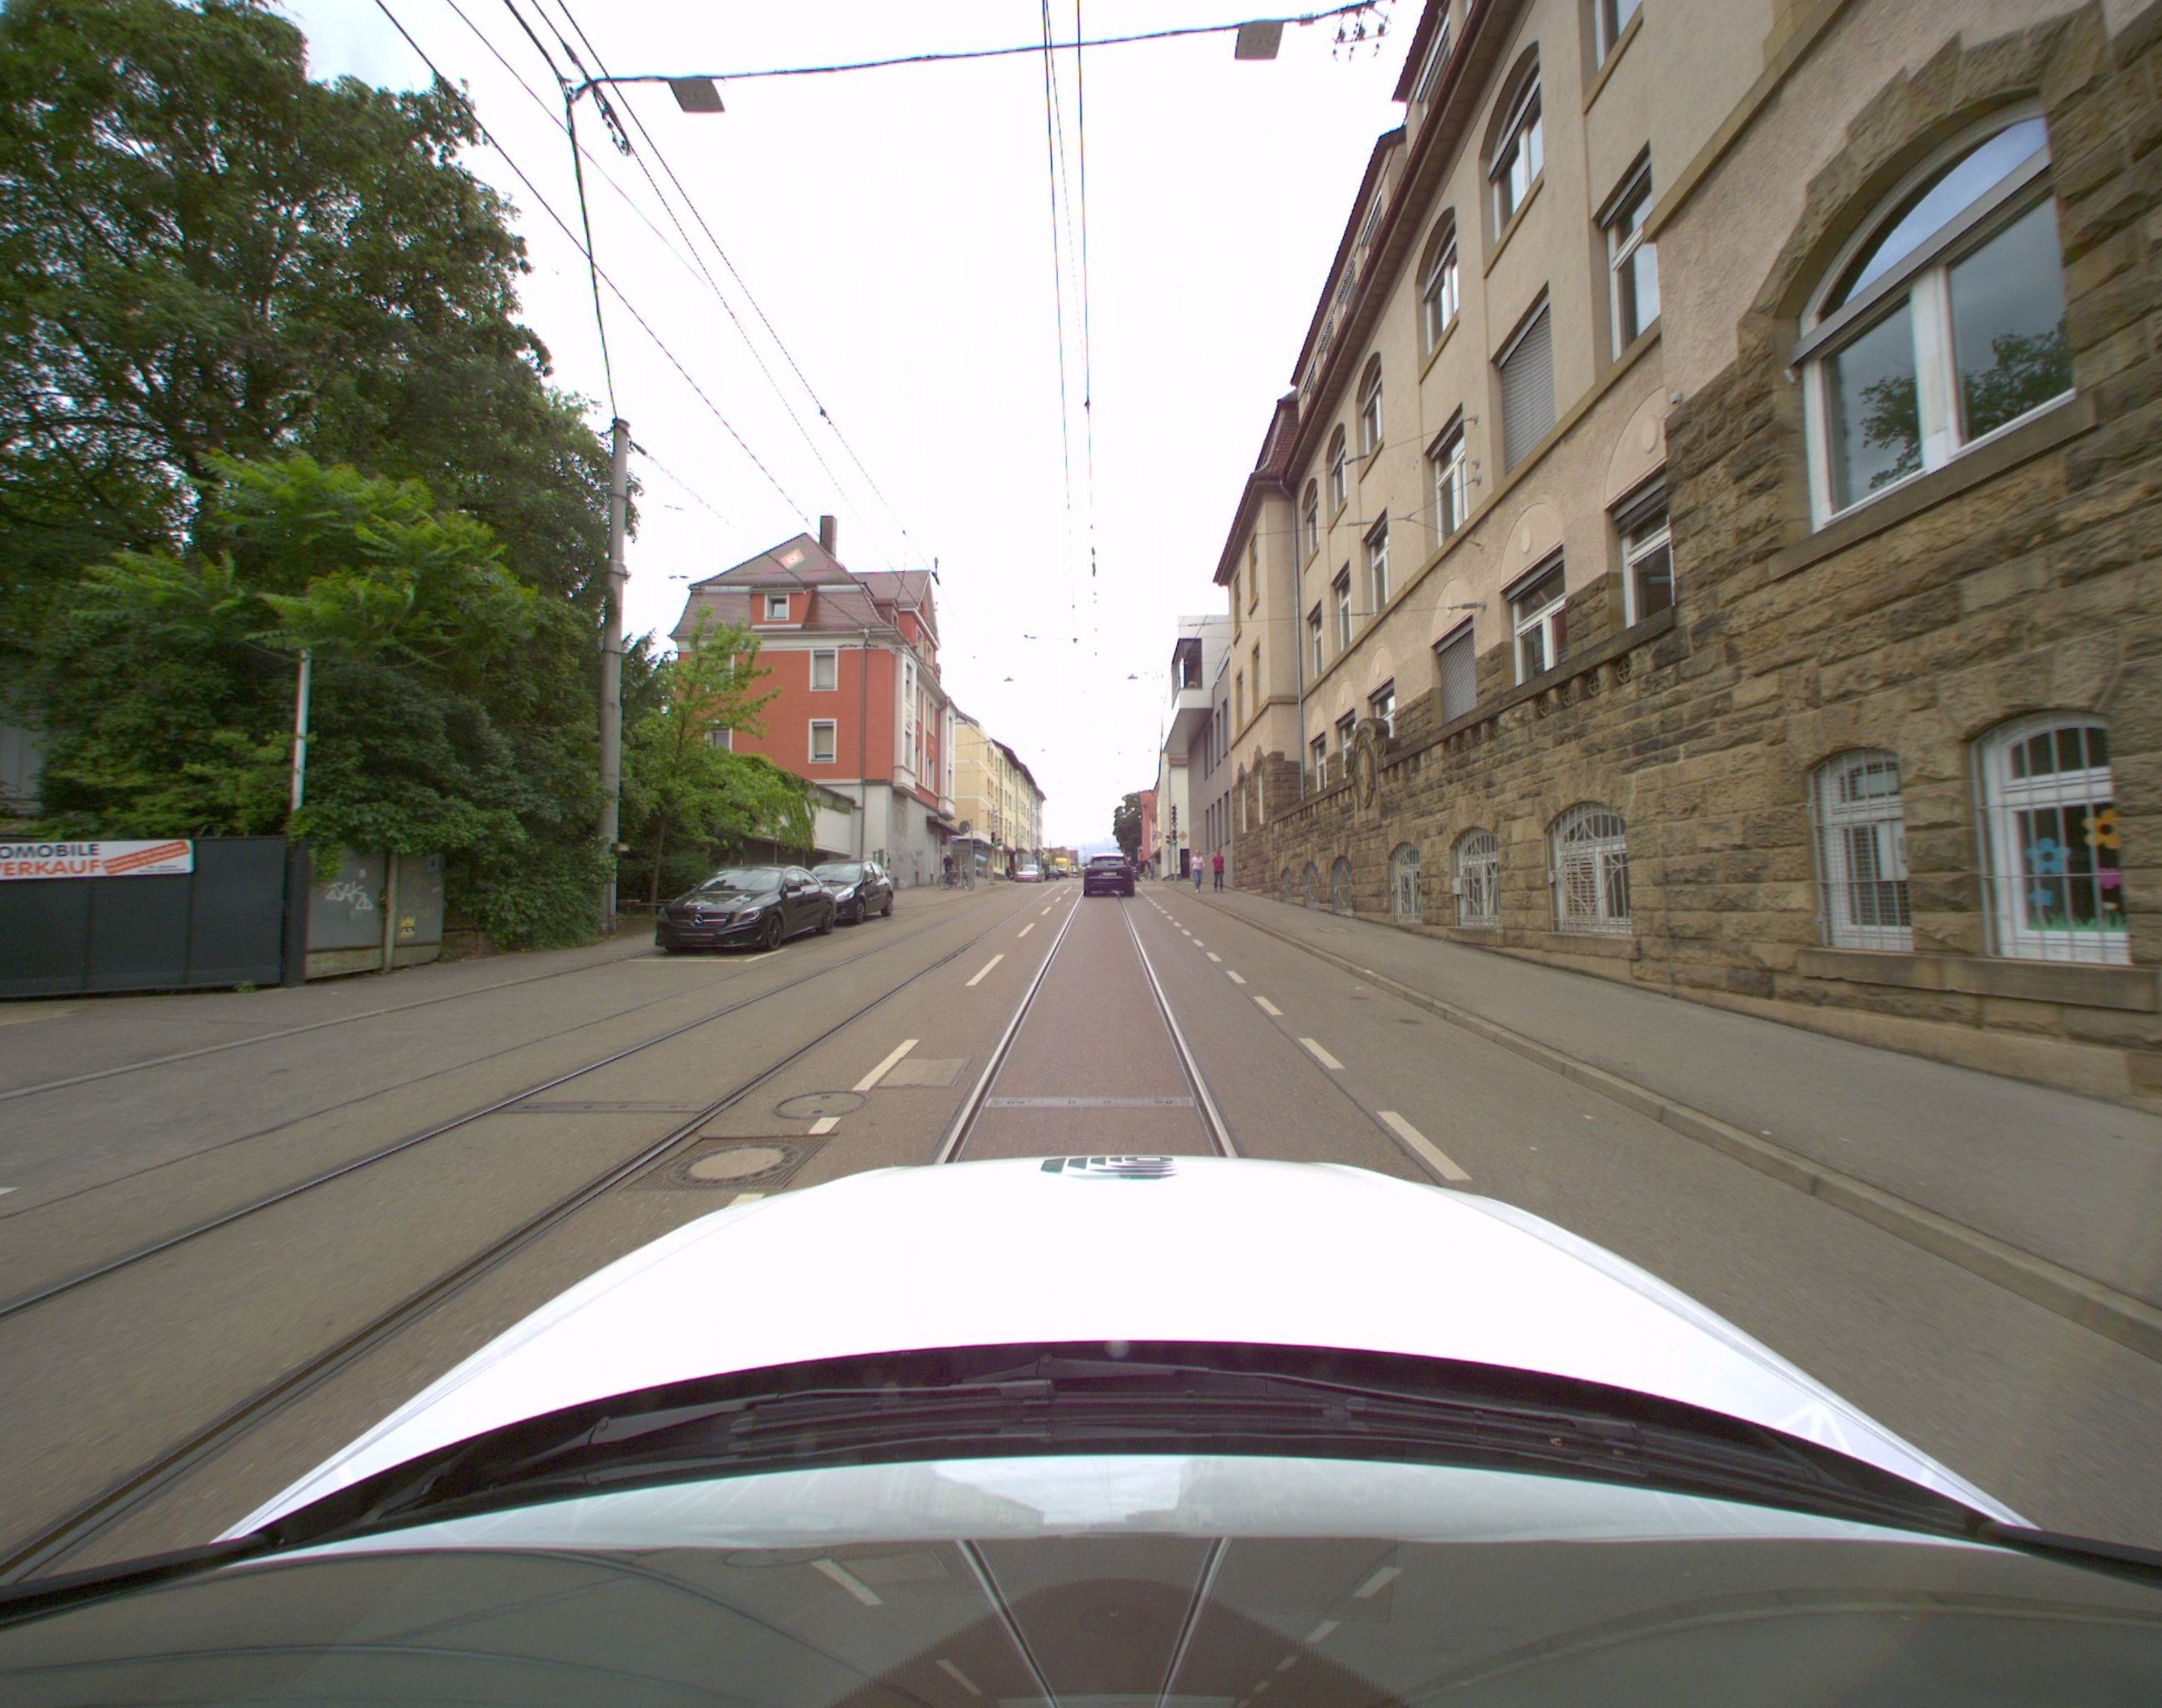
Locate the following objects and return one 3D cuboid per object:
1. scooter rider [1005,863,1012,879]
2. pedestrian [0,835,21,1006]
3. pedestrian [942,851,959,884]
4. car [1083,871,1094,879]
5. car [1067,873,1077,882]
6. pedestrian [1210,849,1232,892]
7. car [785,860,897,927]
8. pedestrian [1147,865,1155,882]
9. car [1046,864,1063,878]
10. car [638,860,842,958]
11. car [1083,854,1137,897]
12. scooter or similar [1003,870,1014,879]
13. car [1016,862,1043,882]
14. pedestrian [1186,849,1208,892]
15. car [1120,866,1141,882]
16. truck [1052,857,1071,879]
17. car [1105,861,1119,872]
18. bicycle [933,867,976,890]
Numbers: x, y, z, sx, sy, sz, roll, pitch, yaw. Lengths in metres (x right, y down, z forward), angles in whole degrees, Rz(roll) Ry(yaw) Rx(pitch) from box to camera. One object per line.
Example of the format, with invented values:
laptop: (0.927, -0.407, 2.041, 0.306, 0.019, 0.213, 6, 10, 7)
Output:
scooter rider: (-7.358, 1.689, 82.742, 0.646, 1.585, 0.765, 0, 0, -3)
pedestrian: (-10.707, 0.635, 7.507, 0.769, 1.634, 0.841, -1, 0, 5)
pedestrian: (-7.057, 0.740, 44.070, 0.772, 1.776, 0.650, 0, -1, 2)
car: (1.550, 4.338, 168.296, 1.986, 1.563, 4.291, 0, 0, 2)
car: (-1.711, 4.382, 155.130, 1.848, 1.607, 4.298, 0, 0, 1)
pedestrian: (5.527, 0.634, 32.207, 0.788, 1.667, 0.799, 0, 0, 3)
car: (-5.697, 0.880, 19.766, 1.509, 1.446, 3.711, 0, 0, 2)
pedestrian: (7.169, 1.971, 83.405, 0.788, 1.667, 0.799, 0, 0, 3)
car: (-3.249, 2.109, 100.266, 1.848, 1.607, 4.298, 0, 0, 1)
car: (-5.801, 0.847, 14.489, 1.706, 1.446, 4.291, 0, 0, 2)
car: (1.153, 0.807, 32.562, 1.986, 1.563, 4.291, 0, 0, 2)
scooter or similar: (-7.357, 2.110, 82.668, 1.025, 0.919, 0.472, 0, 0, -4)
car: (-4.269, 1.478, 67.649, 1.848, 1.607, 4.298, 0, 0, 1)
pedestrian: (4.591, 0.640, 32.212, 0.788, 1.667, 0.799, 0, 0, 3)
car: (5.175, 2.088, 85.562, 1.986, 1.563, 4.291, 0, 0, 2)
truck: (-2.835, 2.046, 120.330, 2.294, 3.037, 9.035, 0, -1, 1)
car: (4.658, 1.810, 121.434, 1.986, 1.563, 4.291, 0, 0, 2)
bicycle: (-5.879, 1.137, 37.911, 1.904, 1.000, 0.479, 0, 0, 1)
